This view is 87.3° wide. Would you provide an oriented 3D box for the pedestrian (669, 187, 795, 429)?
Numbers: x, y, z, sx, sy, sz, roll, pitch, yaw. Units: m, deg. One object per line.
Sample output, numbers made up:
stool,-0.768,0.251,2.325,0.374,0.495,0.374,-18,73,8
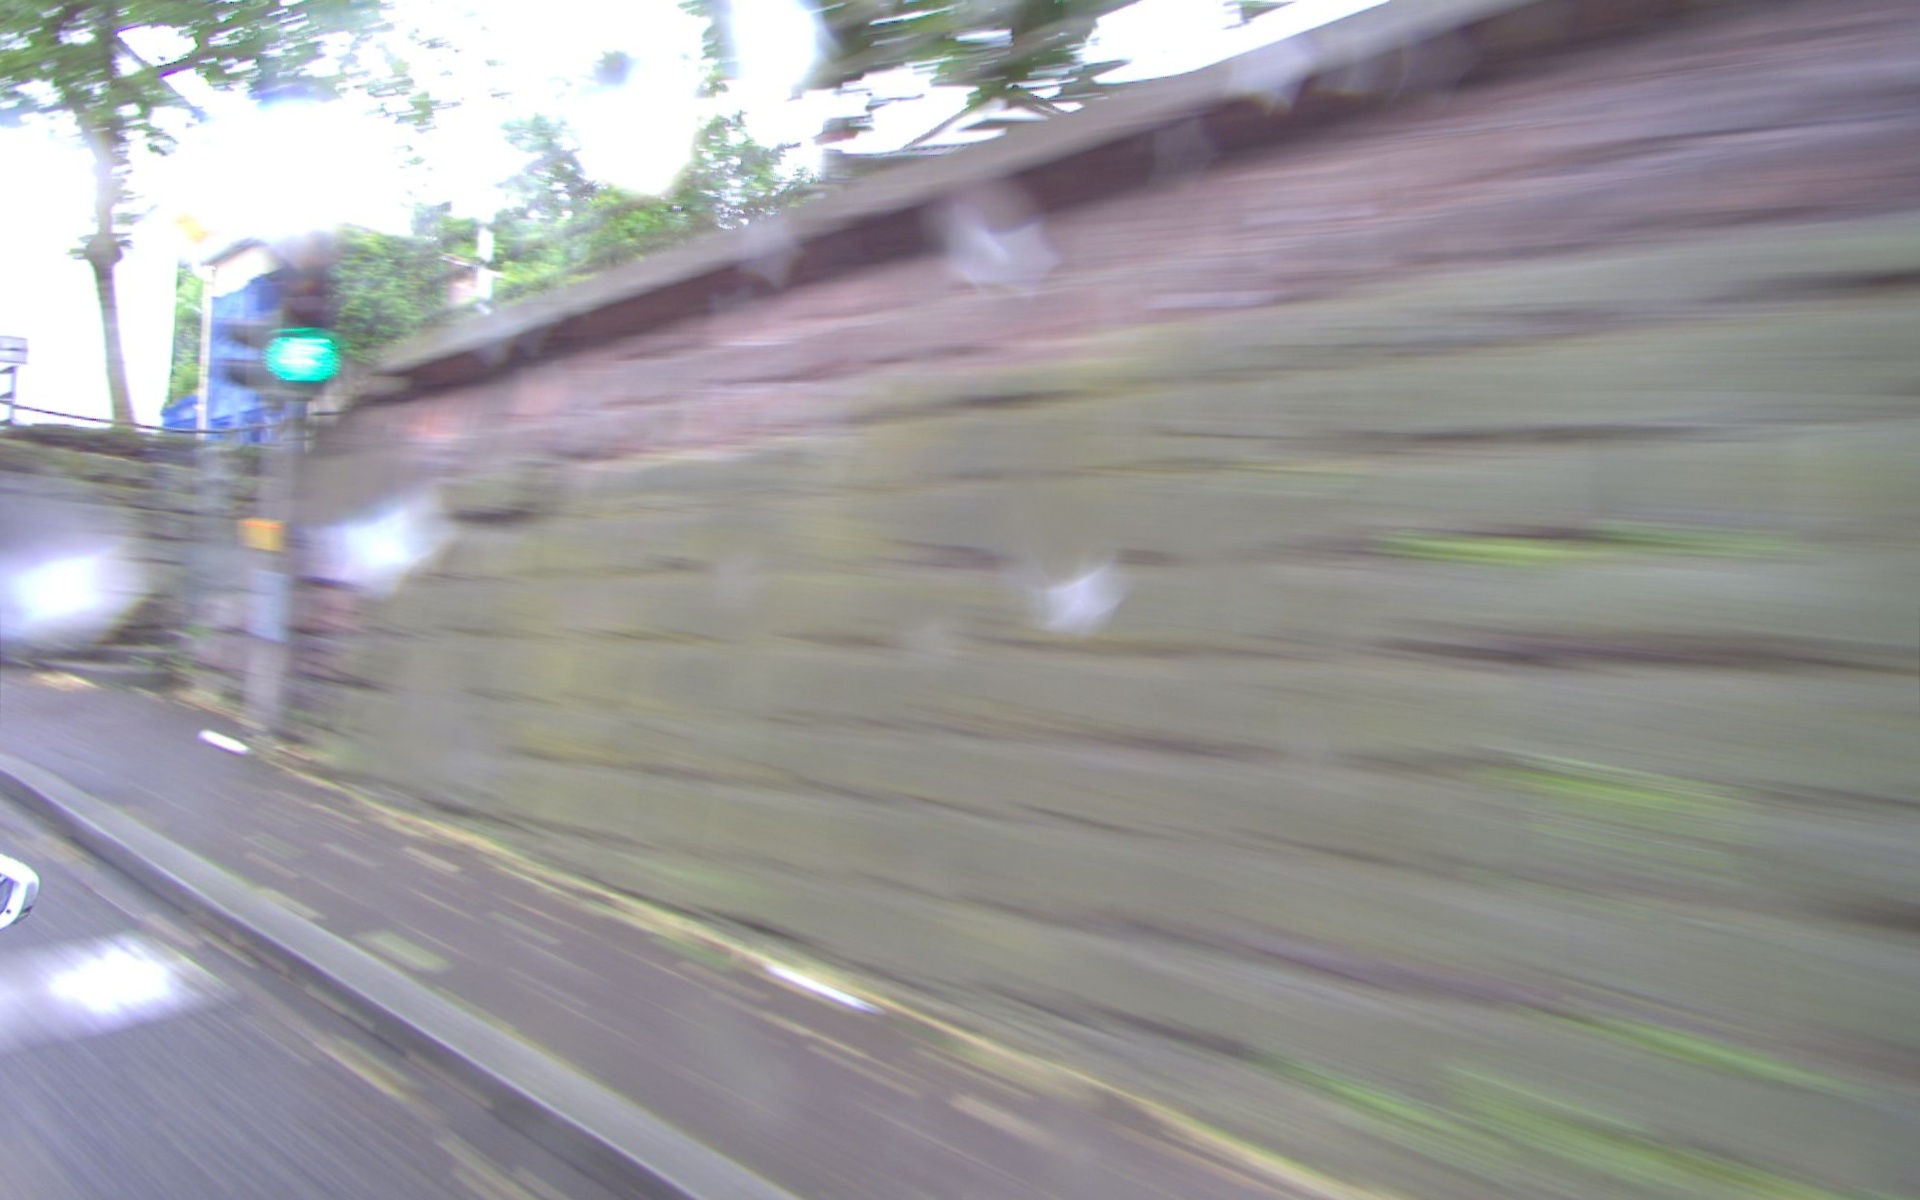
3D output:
pedestrian,-1.871,-2.378,8.376,0.858,1.699,0.778,3,1,-7
